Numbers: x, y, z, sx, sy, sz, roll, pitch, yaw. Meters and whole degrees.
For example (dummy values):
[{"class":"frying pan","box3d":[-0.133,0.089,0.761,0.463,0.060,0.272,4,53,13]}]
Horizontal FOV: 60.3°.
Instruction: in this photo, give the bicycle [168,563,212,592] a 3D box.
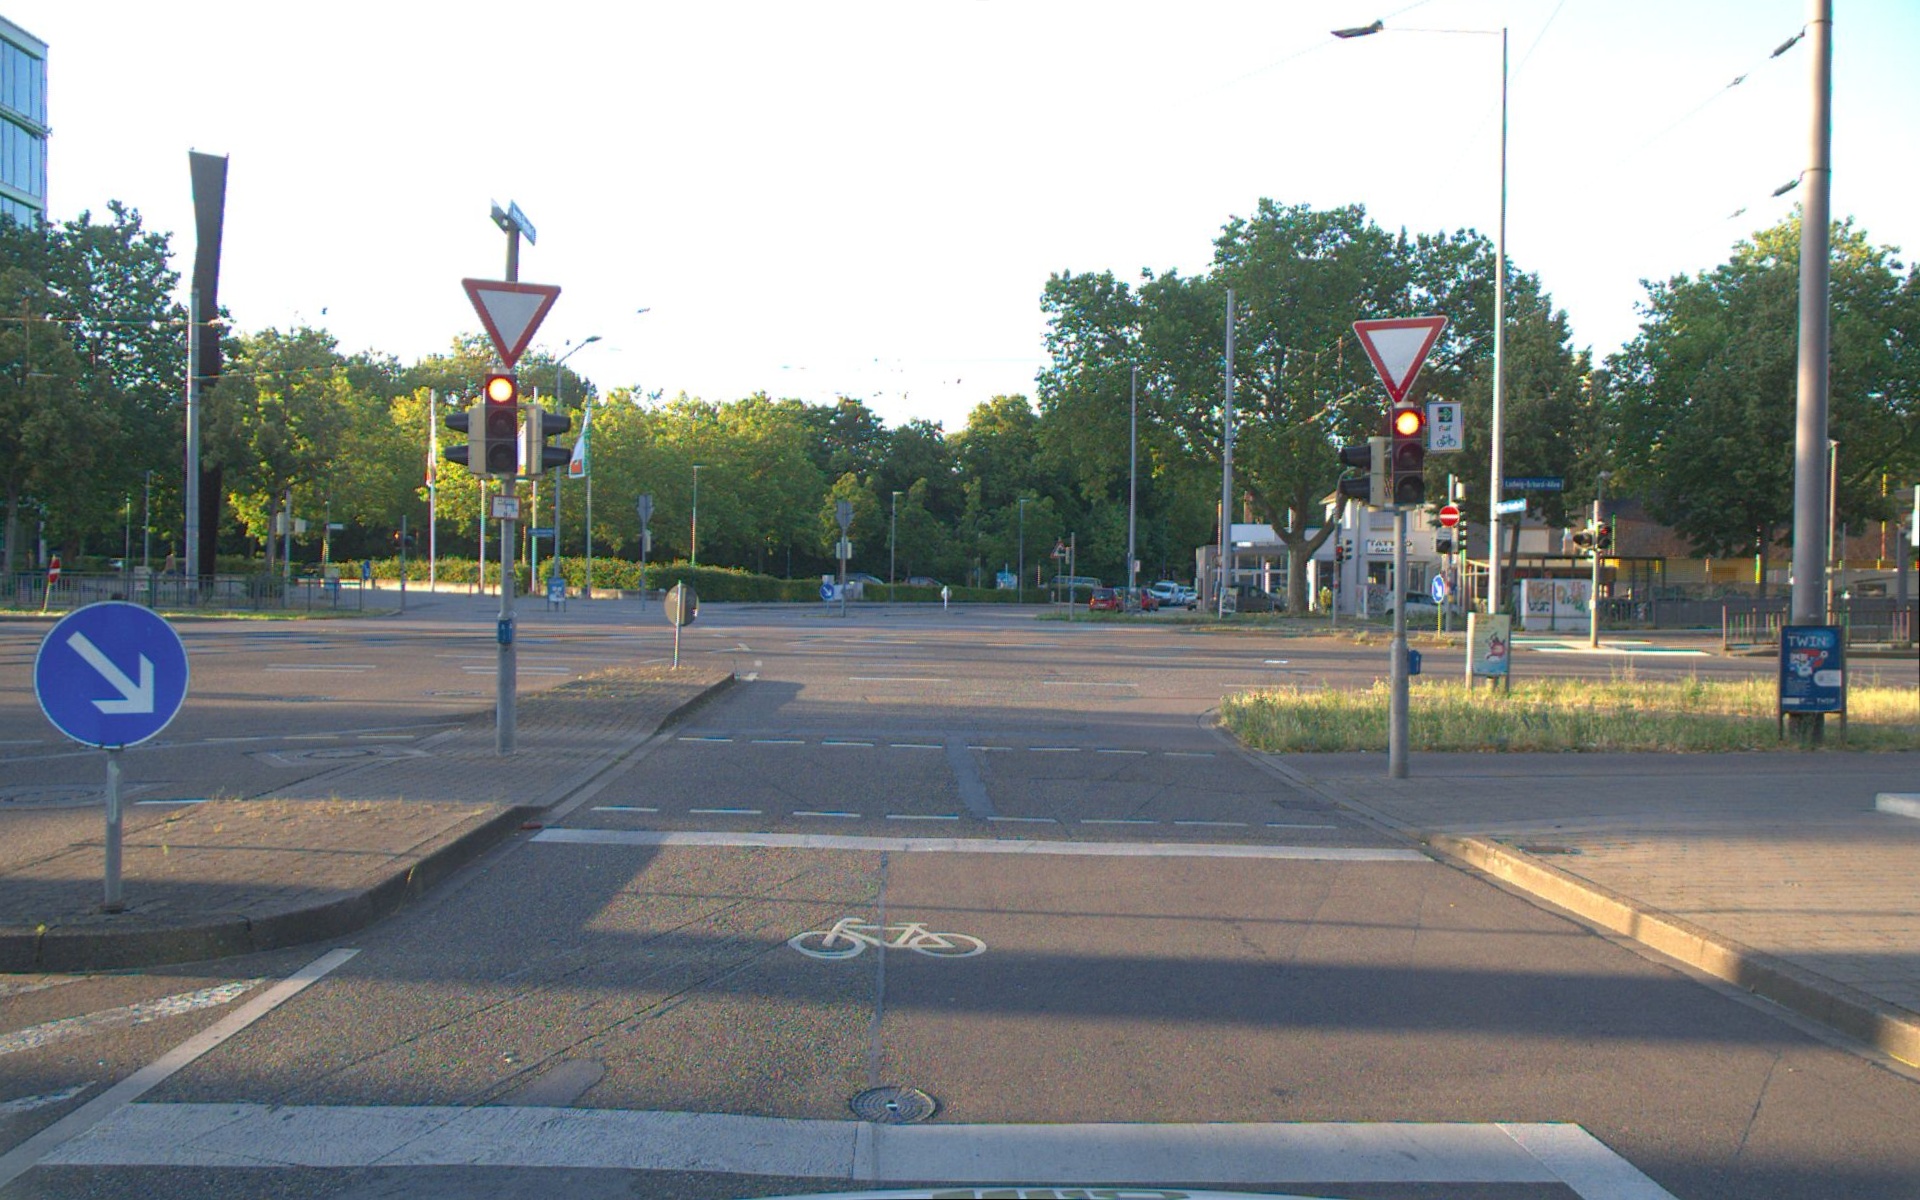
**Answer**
[{"class":"bicycle","box3d":[-38.265,-1.125,82.179,2.635,1.364,0.730,1,1,34]}]

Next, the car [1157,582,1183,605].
[{"class":"car","box3d":[17.353,-0.527,136.425,1.823,1.825,4.003,1,0,12]}]

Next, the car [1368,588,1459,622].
[{"class":"car","box3d":[19.884,0.224,72.641,3.659,1.465,1.665,1,-1,9]}]

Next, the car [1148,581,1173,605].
[{"class":"car","box3d":[15.946,-0.531,131.509,1.823,1.825,4.003,1,0,10]}]

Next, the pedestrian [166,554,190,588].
[{"class":"pedestrian","box3d":[-41.959,-1.546,88.743,0.842,1.774,0.830,1,0,20]}]

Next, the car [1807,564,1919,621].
[{"class":"car","box3d":[43.677,-0.359,78.759,5.476,2.596,2.231,1,0,7]}]

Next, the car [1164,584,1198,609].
[{"class":"car","box3d":[15.505,-0.209,115.906,1.951,1.691,4.003,1,0,14]}]

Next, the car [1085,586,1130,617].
[{"class":"car","box3d":[8.577,0.101,95.883,1.951,1.691,4.003,1,0,14]}]

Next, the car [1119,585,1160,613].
[{"class":"car","box3d":[11.273,-0.035,103.613,1.951,1.691,4.003,1,0,14]}]

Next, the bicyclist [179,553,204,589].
[{"class":"bicyclist","box3d":[-38.184,-1.443,82.181,0.901,1.739,0.750,1,0,35]}]

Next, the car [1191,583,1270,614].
[{"class":"car","box3d":[14.611,-0.082,89.461,4.129,1.579,2.001,1,-1,7]}]

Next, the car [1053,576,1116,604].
[{"class":"car","box3d":[9.457,-0.753,126.097,4.675,2.041,2.000,1,-1,1]}]
